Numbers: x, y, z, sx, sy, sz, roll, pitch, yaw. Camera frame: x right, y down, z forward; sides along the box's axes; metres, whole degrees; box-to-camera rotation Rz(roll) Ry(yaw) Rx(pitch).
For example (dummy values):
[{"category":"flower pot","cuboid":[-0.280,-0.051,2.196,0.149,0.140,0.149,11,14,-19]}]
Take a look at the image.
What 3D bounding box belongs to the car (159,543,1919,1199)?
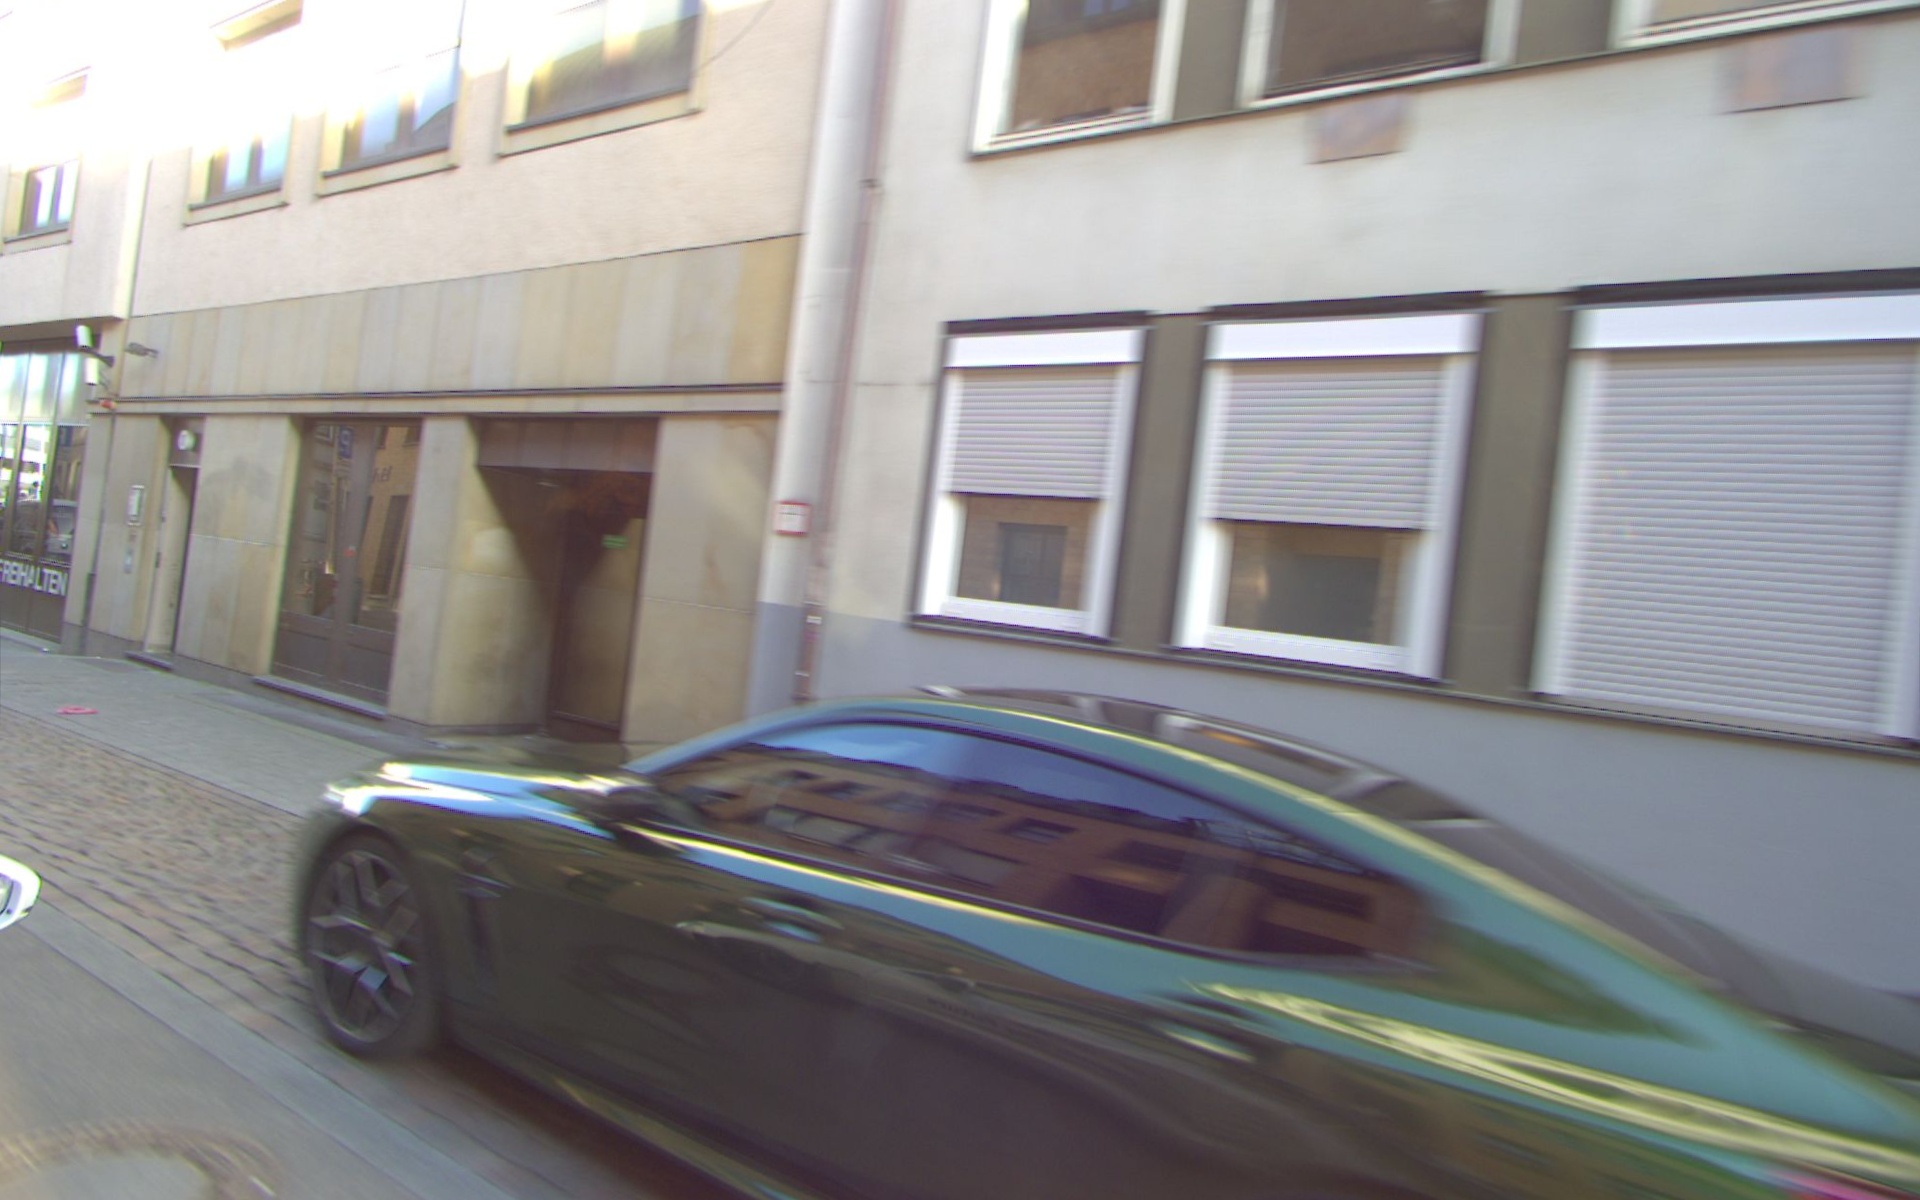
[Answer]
[{"category":"car","cuboid":[-0.113,0.882,3.090,5.138,1.469,1.899,6,-3,31]}]
